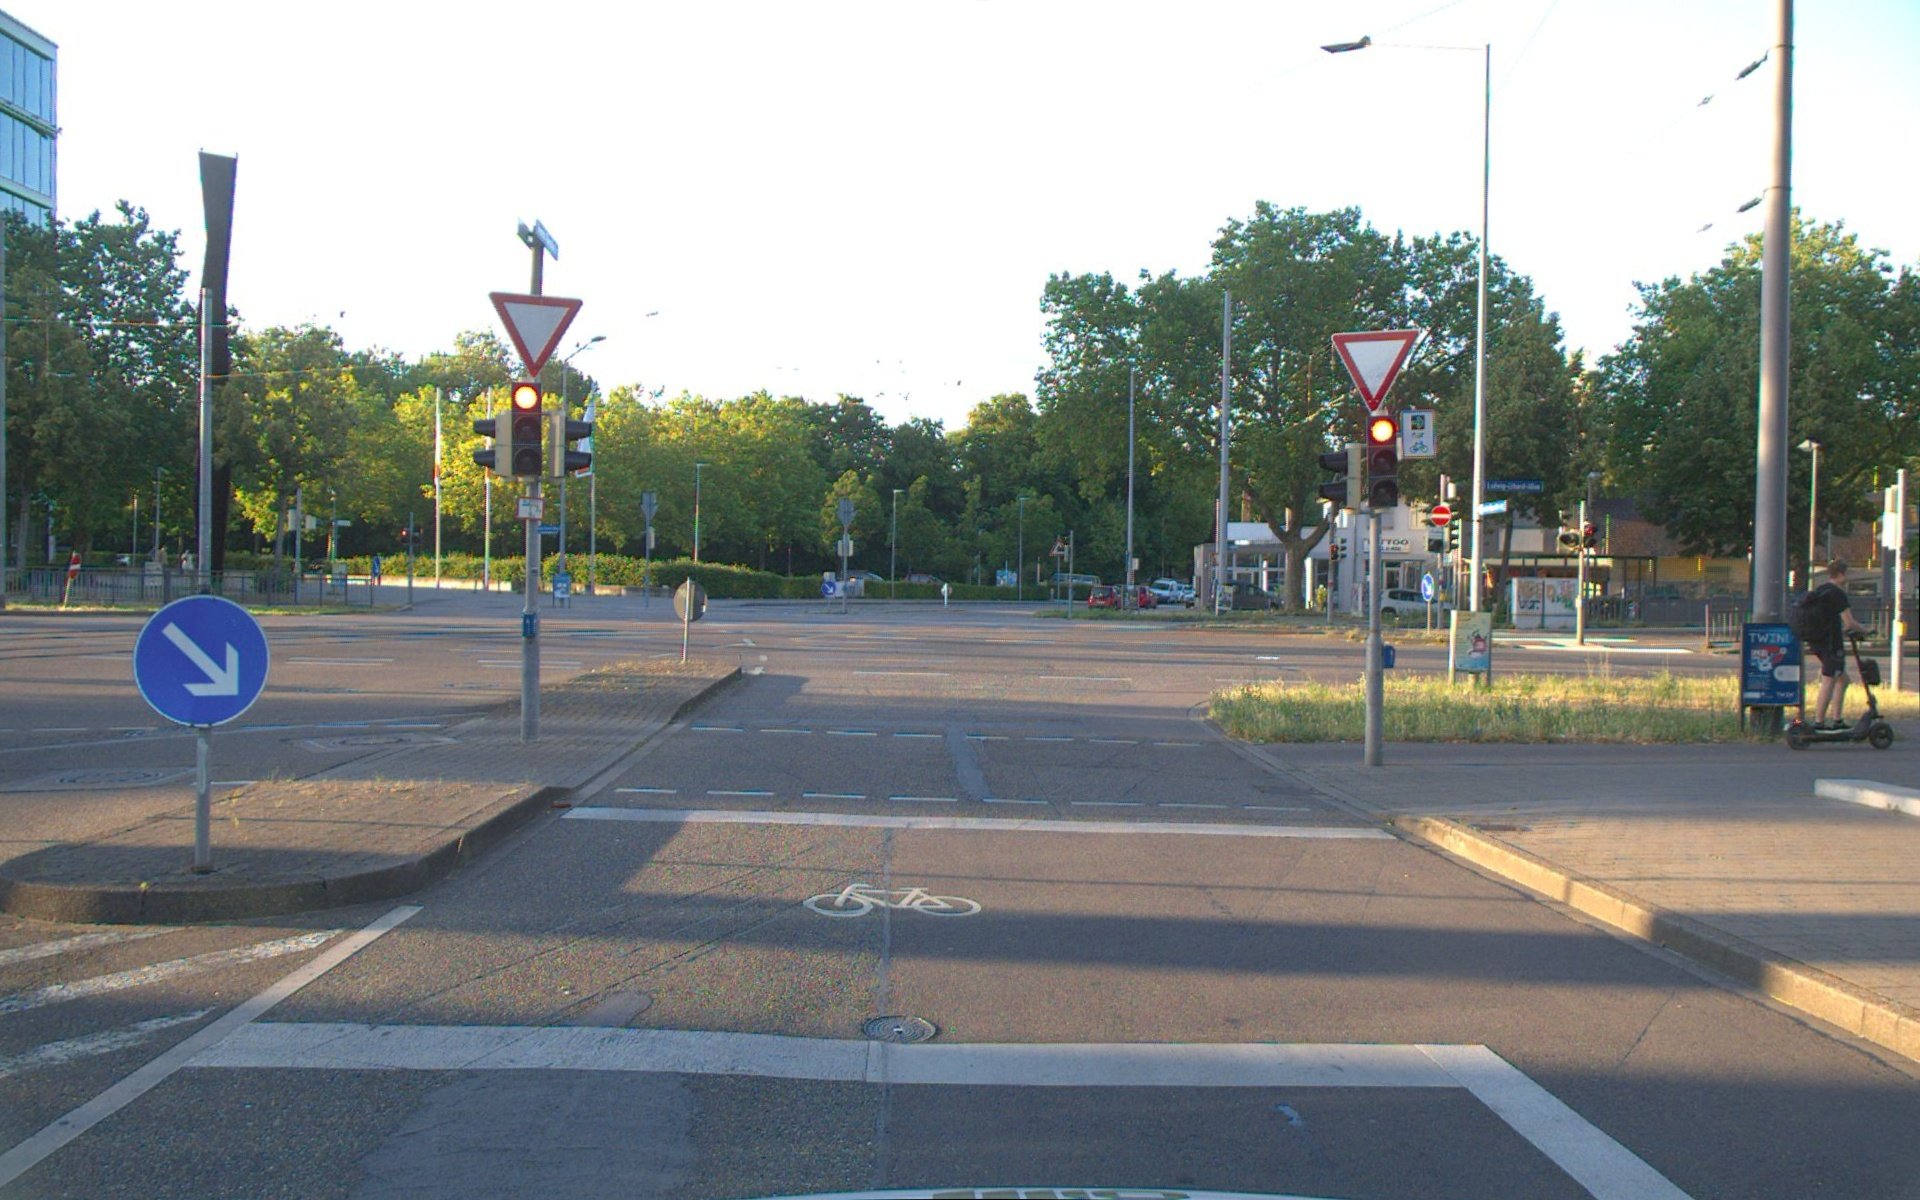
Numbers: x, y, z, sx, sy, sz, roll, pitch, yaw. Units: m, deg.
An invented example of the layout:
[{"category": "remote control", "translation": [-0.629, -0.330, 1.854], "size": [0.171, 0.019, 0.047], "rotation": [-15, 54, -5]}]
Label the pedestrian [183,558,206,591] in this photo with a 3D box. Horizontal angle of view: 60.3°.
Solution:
[{"category": "pedestrian", "translation": [-42.358, -1.403, 91.521], "size": [0.844, 1.774, 0.828], "rotation": [1, 0, 32]}]

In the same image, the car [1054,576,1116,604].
[{"category": "car", "translation": [9.575, -0.740, 126.905], "size": [4.675, 2.041, 2.000], "rotation": [1, -1, 1]}]

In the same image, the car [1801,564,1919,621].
[{"category": "car", "translation": [43.764, -0.354, 79.541], "size": [5.476, 2.596, 2.231], "rotation": [1, 0, 7]}]

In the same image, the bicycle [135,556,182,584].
[{"category": "bicycle", "translation": [-41.020, -1.531, 84.686], "size": [2.630, 1.364, 0.731], "rotation": [1, 1, 27]}]

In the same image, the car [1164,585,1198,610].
[{"category": "car", "translation": [15.614, -0.172, 116.709], "size": [1.951, 1.691, 4.003], "rotation": [1, 0, 14]}]

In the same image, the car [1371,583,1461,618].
[{"category": "car", "translation": [20.200, 0.024, 73.406], "size": [3.659, 1.465, 1.665], "rotation": [1, -1, 9]}]

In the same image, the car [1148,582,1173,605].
[{"category": "car", "translation": [16.067, -0.498, 132.312], "size": [1.823, 1.825, 4.003], "rotation": [1, 0, 10]}]

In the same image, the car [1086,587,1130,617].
[{"category": "car", "translation": [8.669, 0.123, 96.692], "size": [1.951, 1.691, 4.003], "rotation": [1, 0, 14]}]

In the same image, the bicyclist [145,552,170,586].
[{"category": "bicyclist", "translation": [-41.055, -1.593, 84.643], "size": [0.900, 1.739, 0.752], "rotation": [1, 0, 29]}]

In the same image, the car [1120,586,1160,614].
[{"category": "car", "translation": [11.371, -0.007, 104.420], "size": [1.951, 1.691, 4.003], "rotation": [1, 0, 14]}]

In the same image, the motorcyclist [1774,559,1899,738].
[{"category": "motorcyclist", "translation": [8.913, 0.477, 16.838], "size": [0.882, 1.776, 0.675], "rotation": [1, 0, -6]}]

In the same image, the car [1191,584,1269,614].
[{"category": "car", "translation": [14.698, -0.038, 90.264], "size": [4.129, 1.579, 2.001], "rotation": [1, -1, 7]}]

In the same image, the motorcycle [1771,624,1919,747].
[{"category": "motorcycle", "translation": [9.015, 0.861, 16.805], "size": [1.285, 1.209, 0.566], "rotation": [1, 0, -7]}]

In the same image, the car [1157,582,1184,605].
[{"category": "car", "translation": [17.479, -0.491, 137.227], "size": [1.823, 1.825, 4.003], "rotation": [1, 0, 12]}]

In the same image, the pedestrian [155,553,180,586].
[{"category": "pedestrian", "translation": [-43.151, -1.677, 90.040], "size": [0.842, 1.774, 0.830], "rotation": [1, 0, 19]}]
